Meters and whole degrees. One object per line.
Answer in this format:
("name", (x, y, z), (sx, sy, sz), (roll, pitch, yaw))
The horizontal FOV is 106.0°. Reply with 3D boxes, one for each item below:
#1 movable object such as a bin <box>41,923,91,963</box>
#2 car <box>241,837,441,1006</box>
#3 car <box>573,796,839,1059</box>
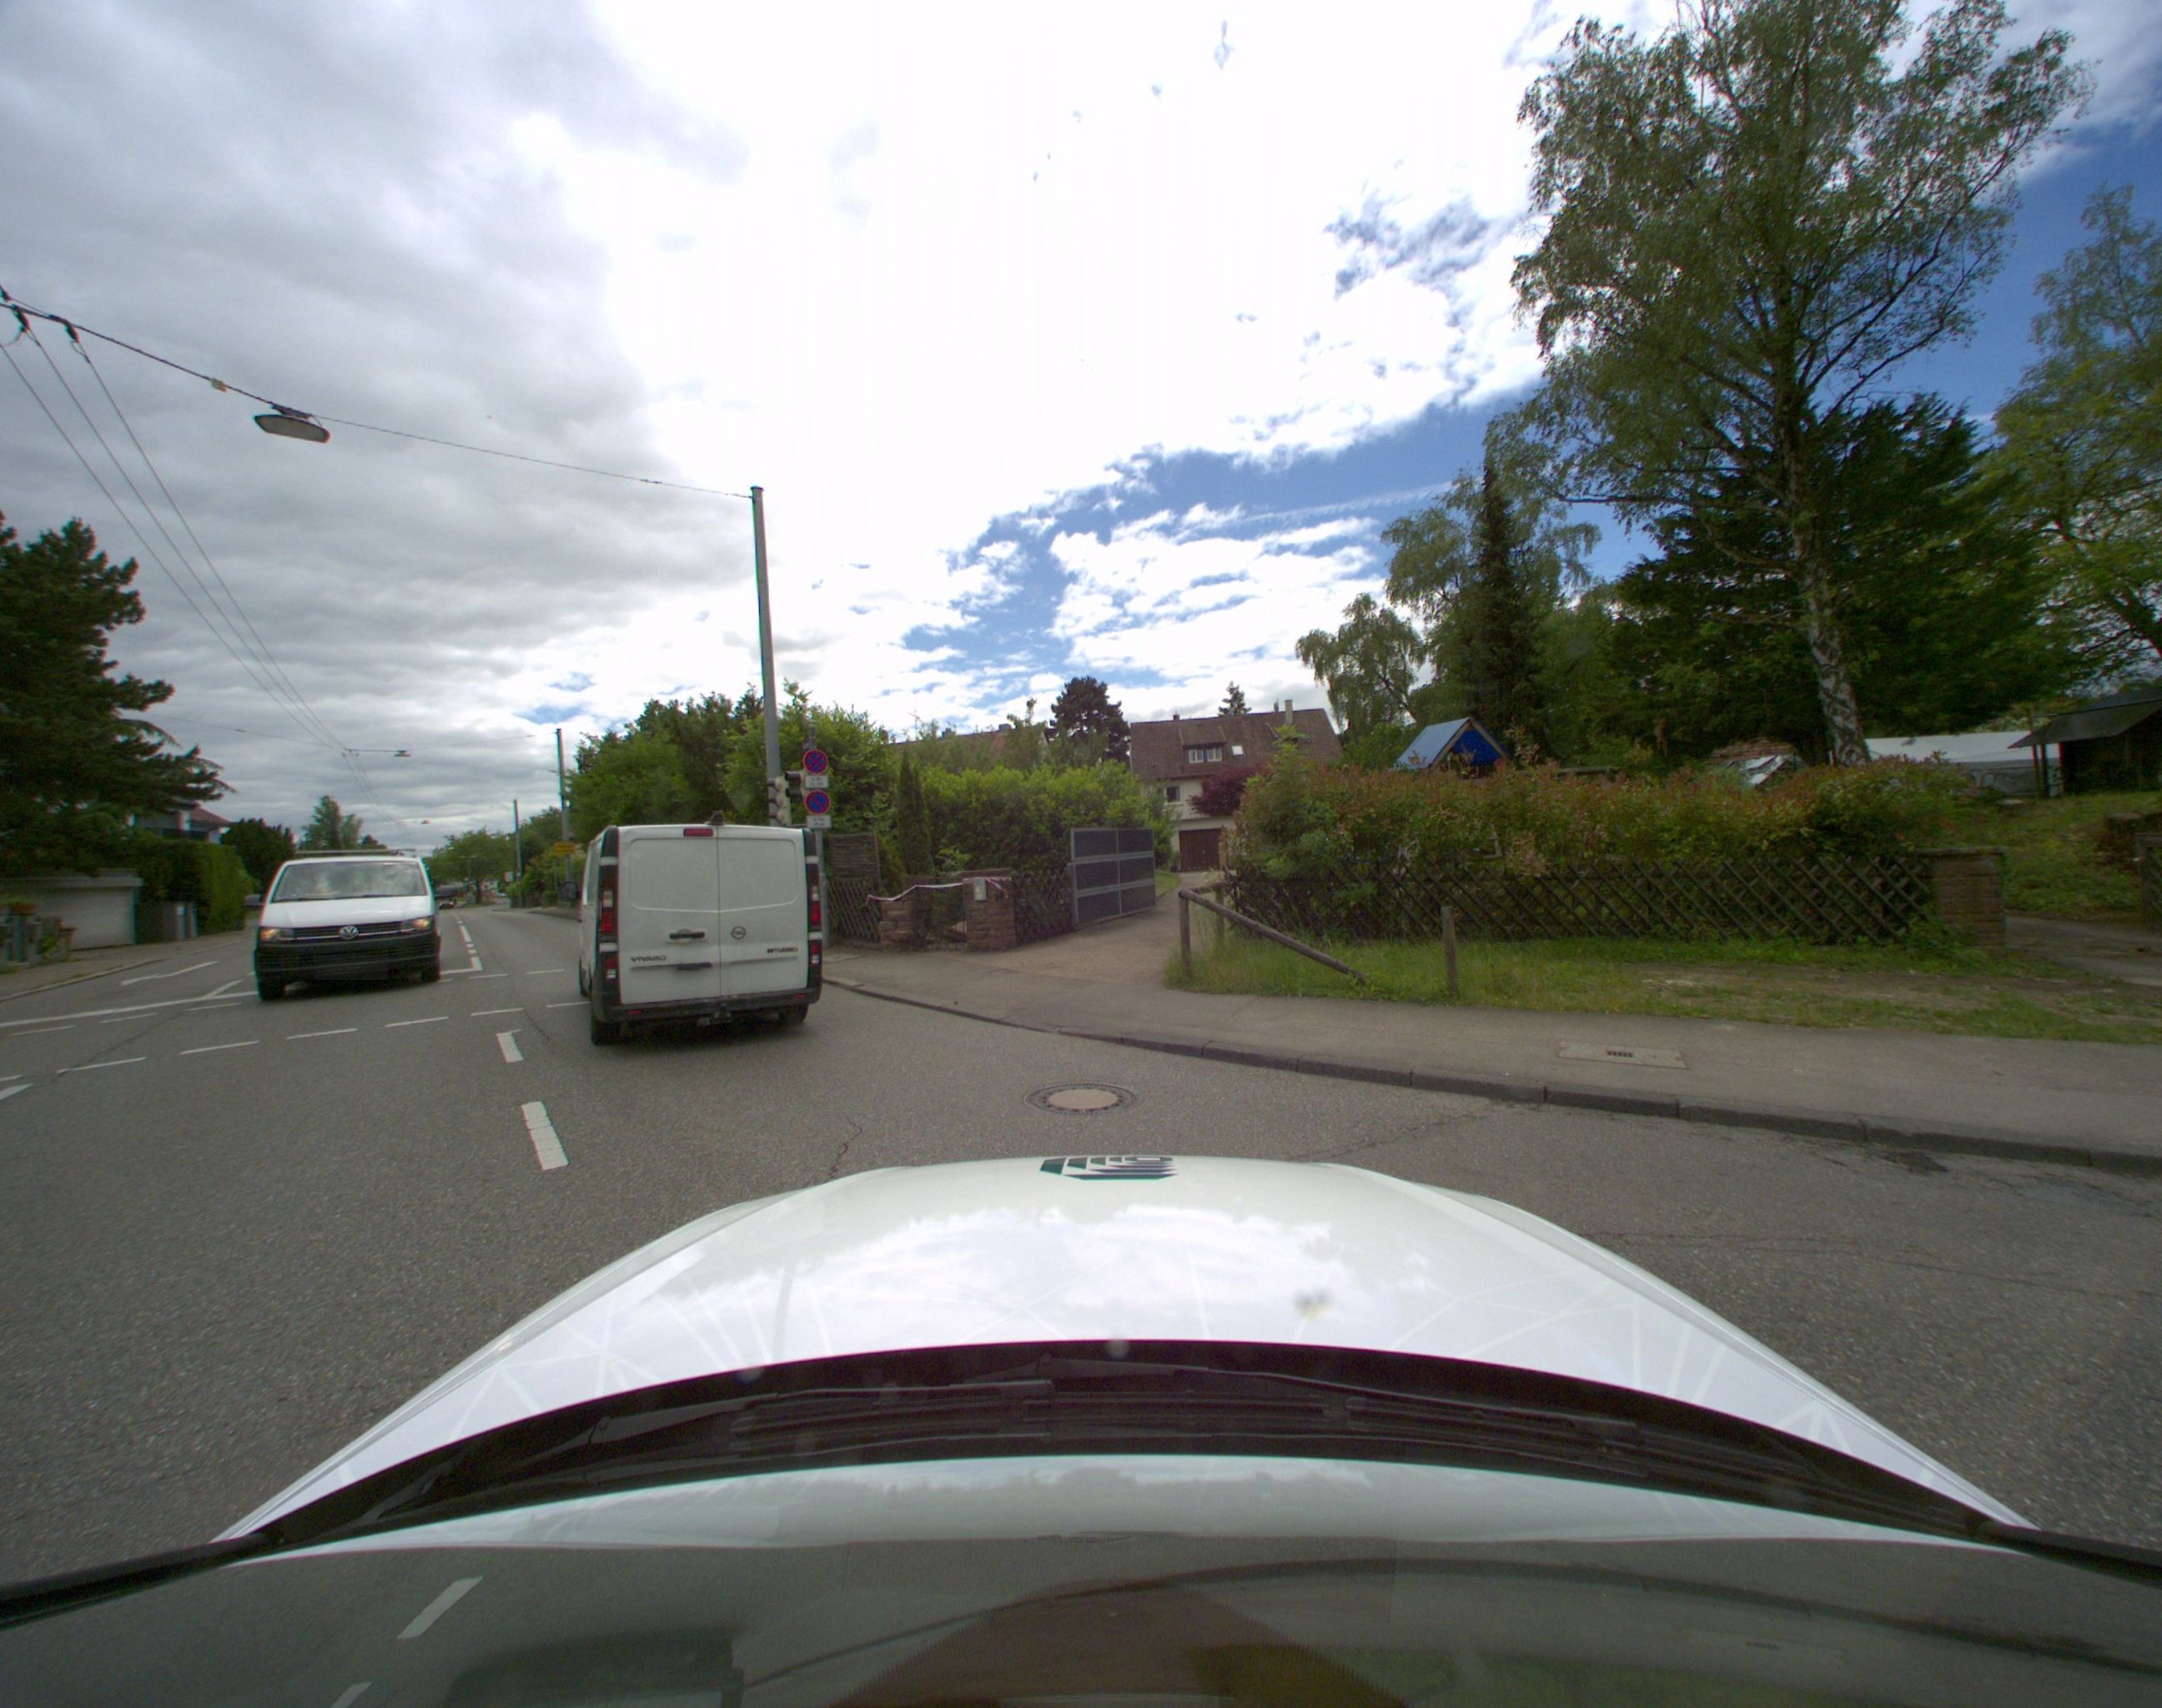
("movable object such as a bin", (-26.034, 2.283, 20.901), (0.463, 0.942, 0.644), (-2, -1, -10))
("car", (-11.300, 0.910, 12.754), (1.874, 2.047, 5.111), (-3, 0, -39))
("car", (-4.386, 0.639, 8.957), (2.020, 2.038, 4.958), (-1, -2, -32))
